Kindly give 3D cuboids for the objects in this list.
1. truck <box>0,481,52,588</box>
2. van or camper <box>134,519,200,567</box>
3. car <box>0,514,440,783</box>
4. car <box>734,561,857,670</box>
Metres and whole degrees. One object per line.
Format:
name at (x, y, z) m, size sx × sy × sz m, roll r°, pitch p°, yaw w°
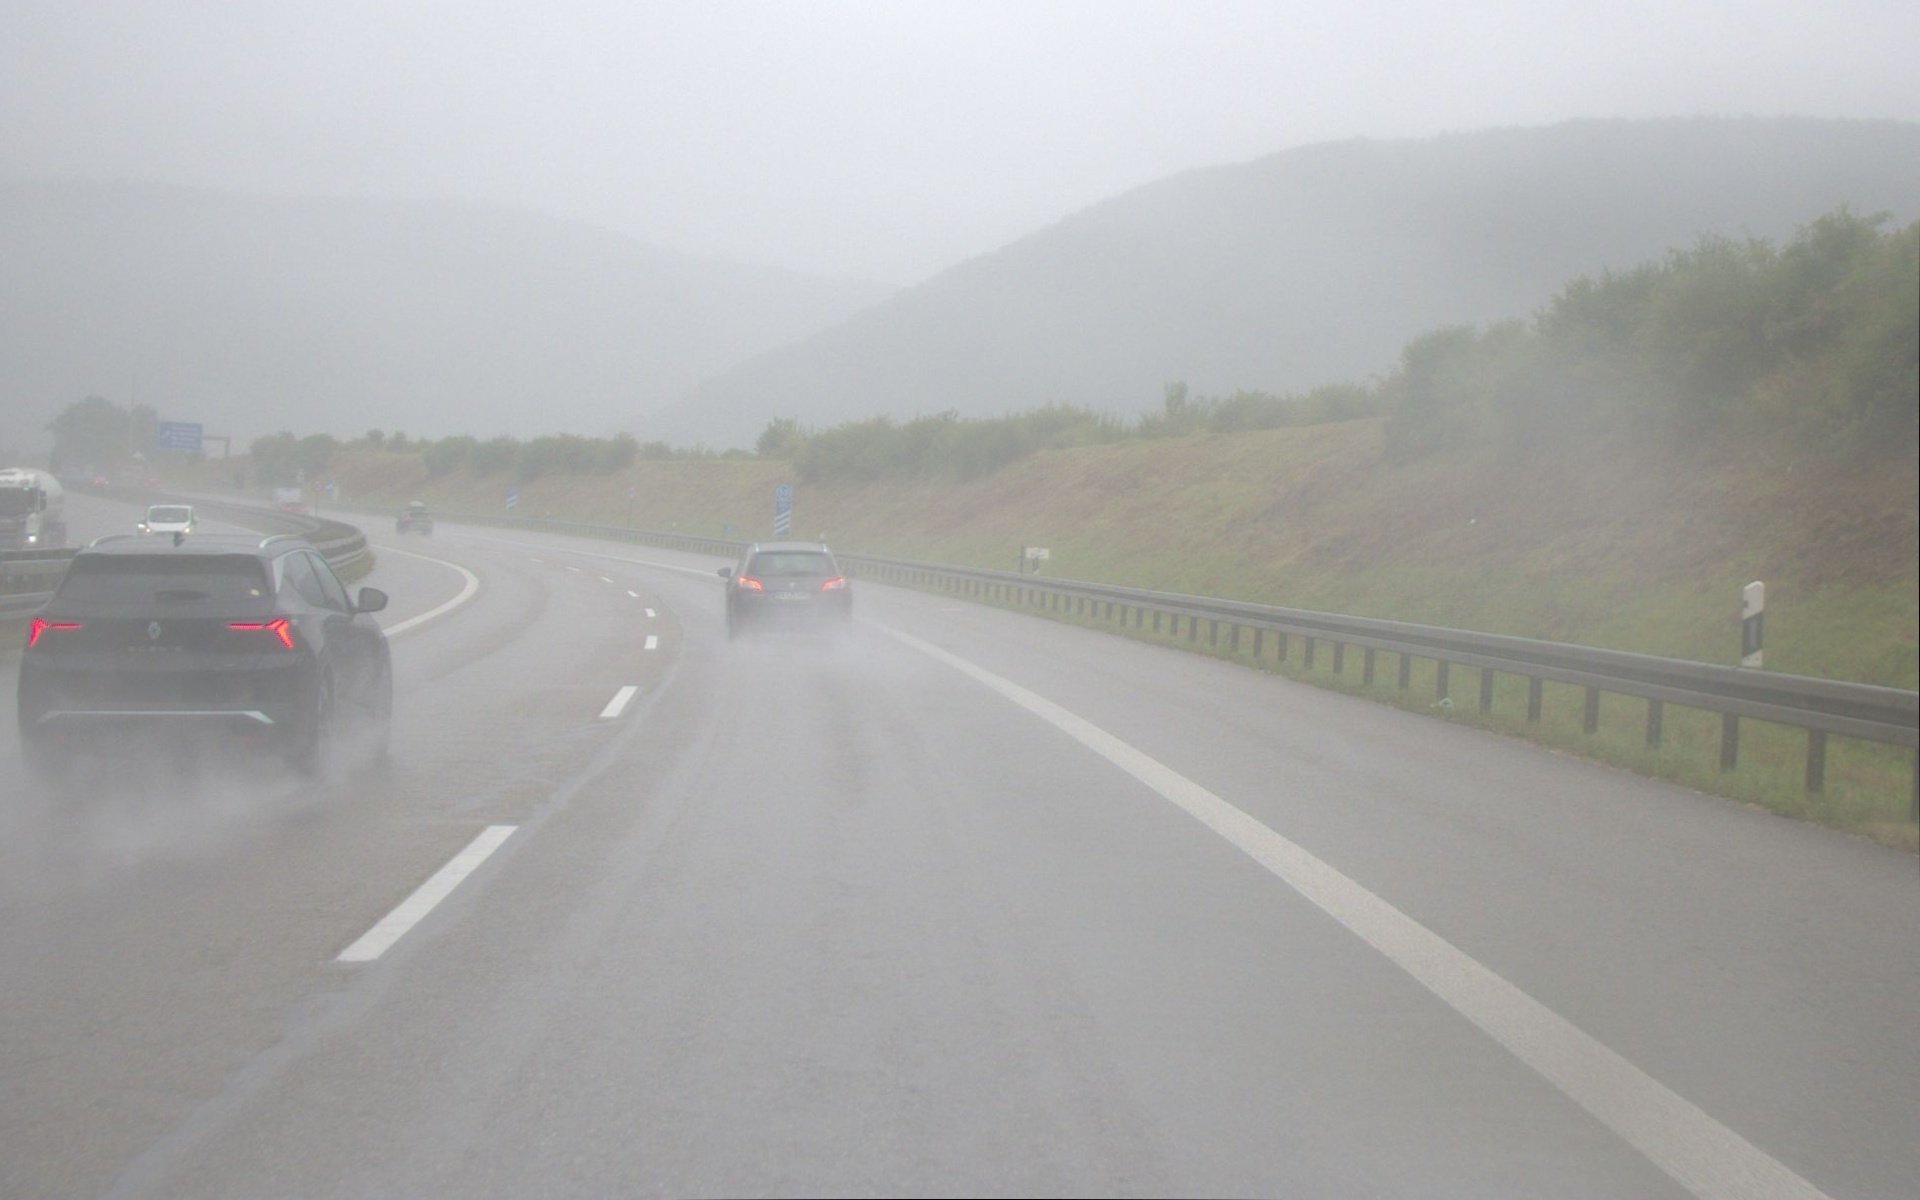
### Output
truck at (-34.501, -2.390, 124.037) m, size 2.883 × 3.789 × 5.317 m, roll 0°, pitch 1°, yaw -10°
van or camper at (-31.918, -2.305, 138.554) m, size 1.993 × 1.871 × 5.347 m, roll 0°, pitch 1°, yaw -6°
car at (-4.804, 0.256, 22.555) m, size 2.405 × 1.510 × 4.785 m, roll 2°, pitch 0°, yaw -5°
car at (-2.408, 0.195, 50.133) m, size 1.679 × 1.467 × 3.815 m, roll 2°, pitch 1°, yaw -3°
